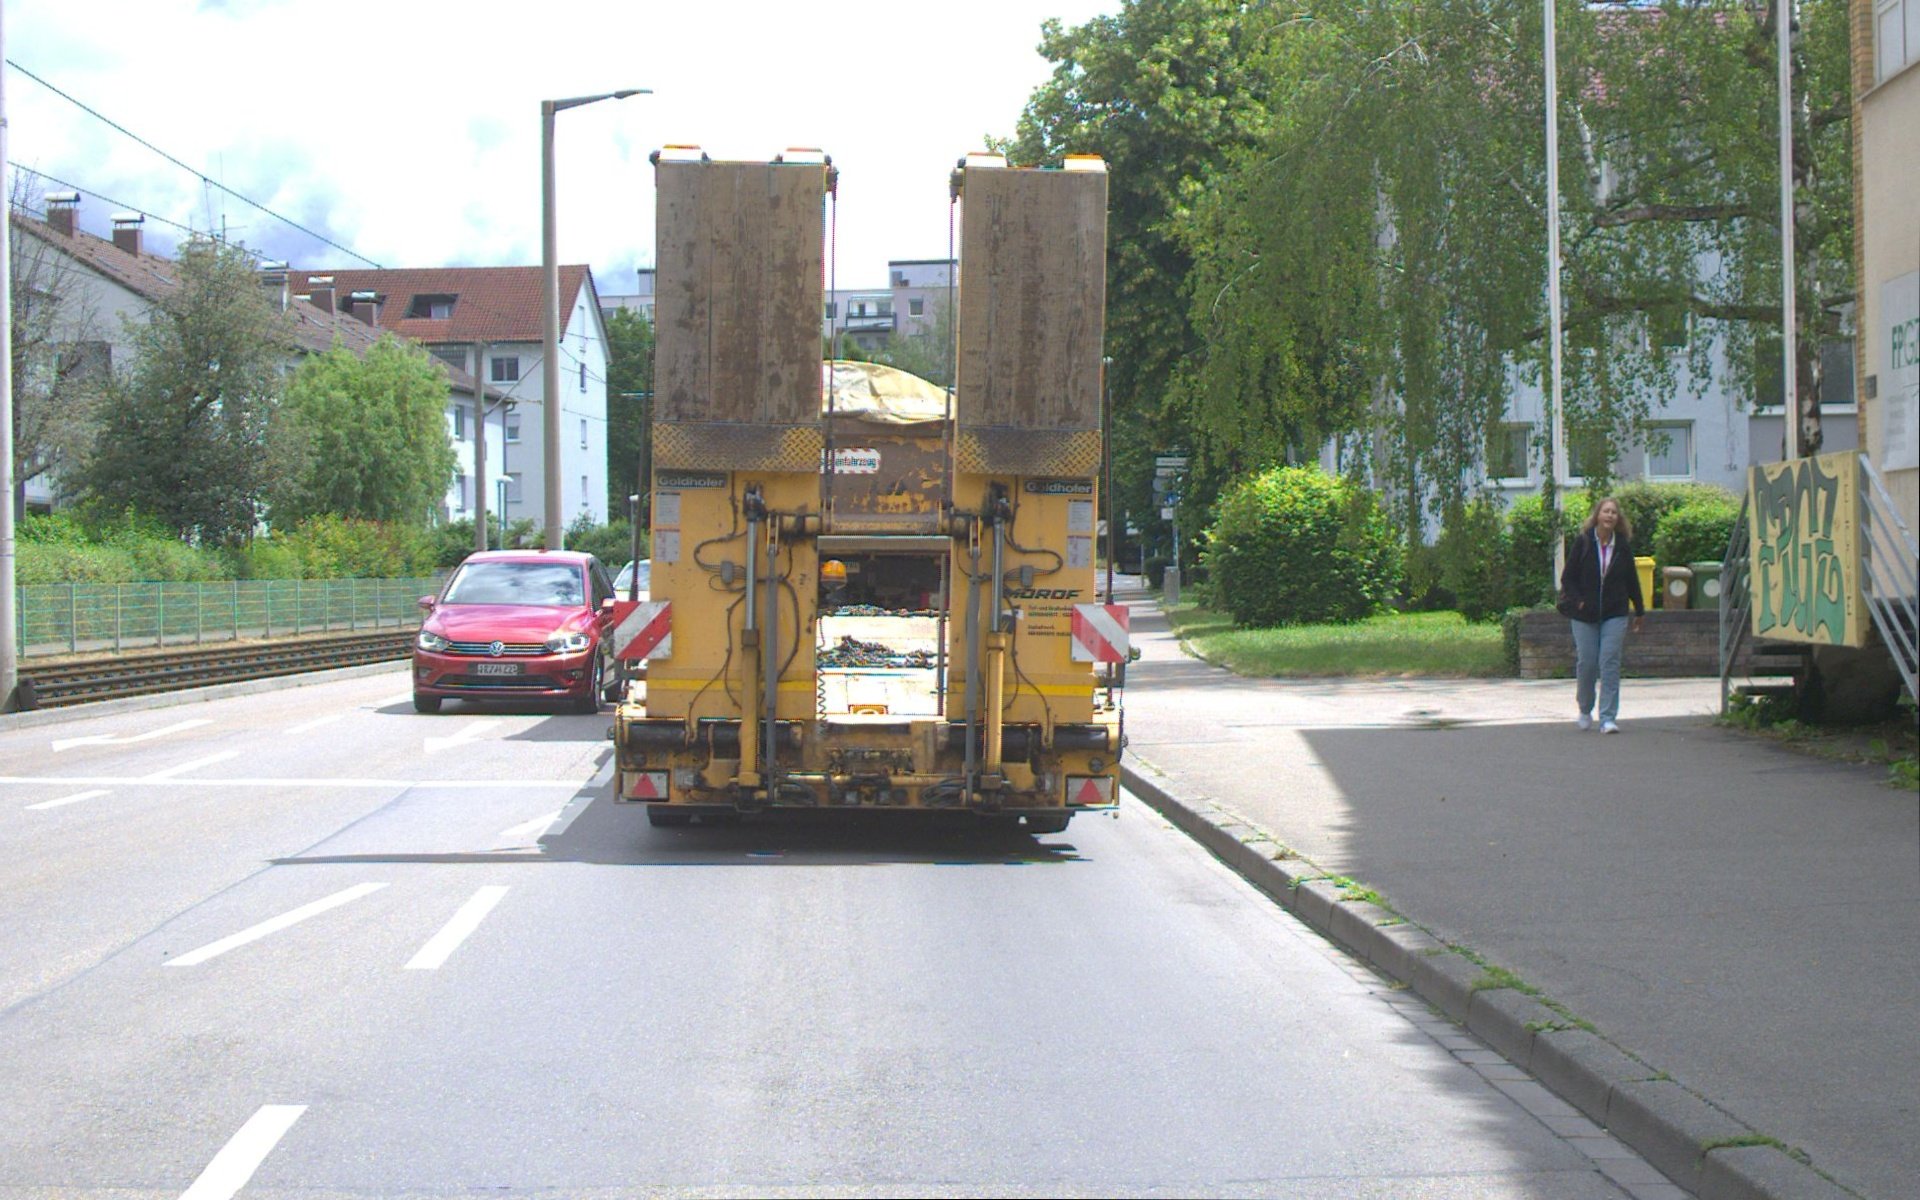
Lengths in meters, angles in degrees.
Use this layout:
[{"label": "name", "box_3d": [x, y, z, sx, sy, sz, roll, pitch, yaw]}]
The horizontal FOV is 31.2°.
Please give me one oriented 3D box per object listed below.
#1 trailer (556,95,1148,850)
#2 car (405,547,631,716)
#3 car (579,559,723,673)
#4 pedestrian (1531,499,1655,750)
[{"label": "trailer", "box_3d": [-0.843, -0.672, 22.971, 2.827, 3.633, 12.355, 1, 0, -3]}, {"label": "car", "box_3d": [-4.310, 0.275, 34.018, 1.663, 1.547, 4.000, 1, 0, 0]}, {"label": "car", "box_3d": [-4.395, 0.204, 49.398, 1.760, 1.547, 4.000, 1, 0, -1]}, {"label": "pedestrian", "box_3d": [4.545, 0.169, 24.738, 0.809, 1.765, 0.816, 1, 0, 8]}]
